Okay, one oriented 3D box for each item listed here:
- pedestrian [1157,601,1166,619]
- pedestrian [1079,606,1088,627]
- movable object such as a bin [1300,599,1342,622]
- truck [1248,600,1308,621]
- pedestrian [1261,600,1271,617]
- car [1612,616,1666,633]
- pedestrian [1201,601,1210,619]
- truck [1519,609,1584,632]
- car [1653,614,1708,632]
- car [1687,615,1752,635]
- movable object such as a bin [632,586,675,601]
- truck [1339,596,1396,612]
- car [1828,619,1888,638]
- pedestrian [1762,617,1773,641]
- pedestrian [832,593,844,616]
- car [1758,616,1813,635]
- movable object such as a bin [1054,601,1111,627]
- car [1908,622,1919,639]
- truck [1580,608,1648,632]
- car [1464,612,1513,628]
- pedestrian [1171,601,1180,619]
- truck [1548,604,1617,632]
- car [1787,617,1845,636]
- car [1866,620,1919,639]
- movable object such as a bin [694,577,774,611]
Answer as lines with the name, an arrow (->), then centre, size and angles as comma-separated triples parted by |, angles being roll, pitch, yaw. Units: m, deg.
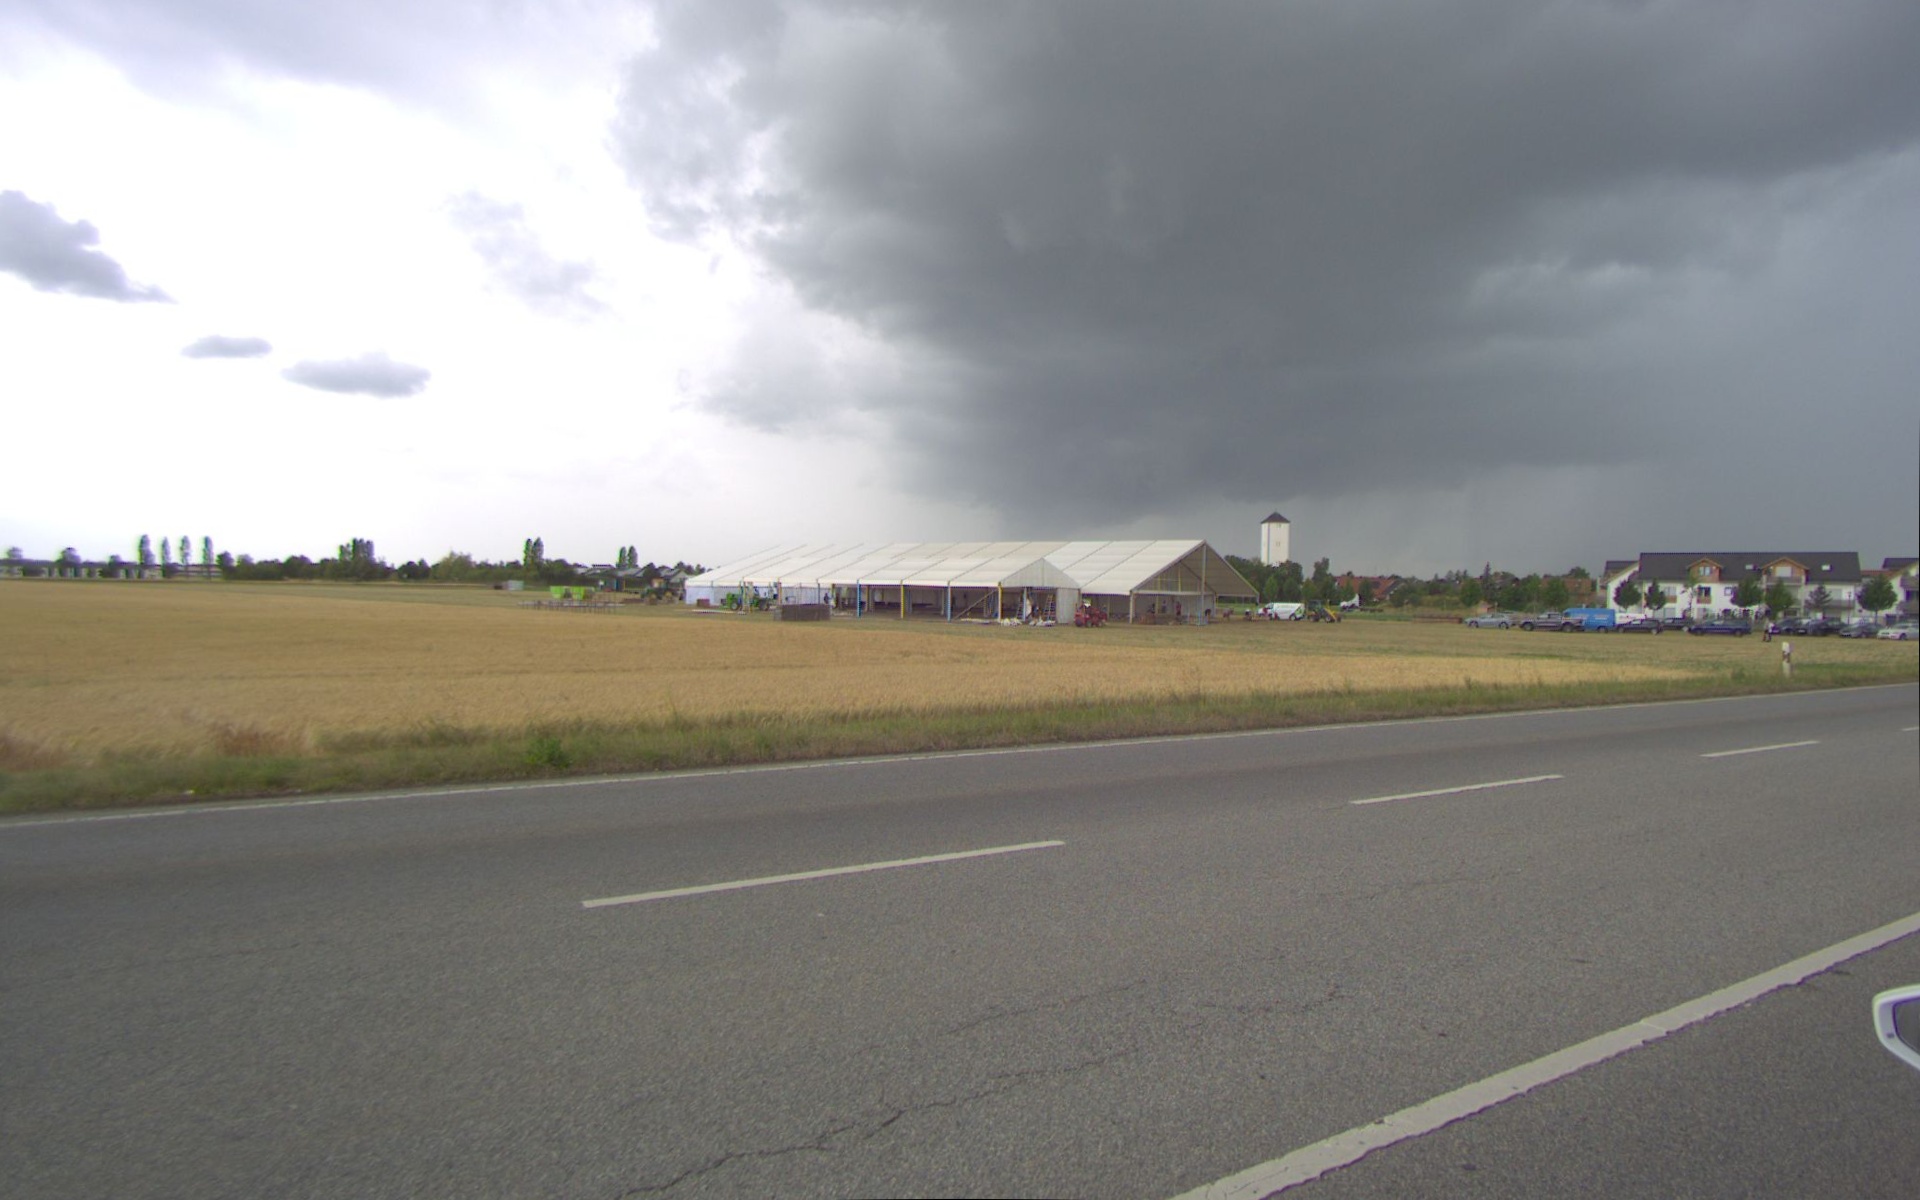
pedestrian -> 20.428, 1.056, 101.790 | 0.717, 1.803, 0.760 | 1, 0, 21
pedestrian -> 9.995, 1.321, 81.550 | 0.463, 1.649, 0.581 | 1, 0, 36
movable object such as a bin -> 38.495, 1.123, 107.056 | 3.927, 2.273, 1.881 | 1, 0, 31
truck -> 35.798, 1.167, 113.070 | 5.958, 2.246, 2.714 | 1, 0, 32
pedestrian -> 32.436, 0.904, 106.528 | 0.681, 1.799, 0.690 | 1, 0, 44
car -> 64.524, 2.322, 95.503 | 4.104, 1.539, 1.991 | 1, 0, 39
pedestrian -> 24.600, 0.970, 100.562 | 0.679, 1.799, 0.693 | 1, 0, 34
truck -> 55.283, 1.902, 93.881 | 5.153, 1.946, 2.107 | 1, 0, 33
car -> 75.130, 2.427, 104.759 | 4.569, 1.720, 1.991 | 1, 0, 39
car -> 69.377, 2.279, 91.776 | 4.658, 1.720, 1.991 | 1, 0, 39
movable object such as a bin -> -44.445, -0.920, 145.688 | 2.528, 2.040, 5.388 | 2, 0, 40
truck -> 70.769, 0.727, 174.672 | 3.257, 2.563, 9.310 | 1, 0, -27
car -> 79.445, 2.520, 88.884 | 4.139, 1.556, 1.995 | 1, 0, -13
pedestrian -> 63.599, 2.286, 79.091 | 0.673, 1.809, 0.543 | 1, 0, -43
pedestrian -> -11.074, 0.417, 91.006 | 1.005, 2.040, 0.806 | 1, 0, -2
car -> 78.476, 2.432, 95.510 | 4.139, 1.651, 1.995 | 1, 0, -13
movable object such as a bin -> 9.573, 1.094, 78.305 | 2.555, 1.889, 4.459 | 1, 0, 35
car -> 81.582, 2.576, 83.592 | 4.139, 1.465, 1.995 | 1, 0, -13
truck -> 65.122, 1.994, 100.010 | 5.492, 2.226, 2.598 | 1, 0, 36
car -> 52.819, 1.967, 100.421 | 4.234, 1.481, 1.887 | 1, 0, 33
pedestrian -> 21.605, 1.017, 100.699 | 0.643, 1.767, 0.727 | 1, 0, 23
truck -> 59.129, 1.655, 95.468 | 5.377, 2.478, 2.385 | 1, 0, 36
car -> 78.228, 2.442, 91.832 | 4.139, 1.651, 1.995 | 1, 0, -13
car -> 80.499, 2.539, 86.297 | 4.139, 1.465, 1.995 | 1, 0, -13
movable object such as a bin -> -22.888, -0.612, 101.652 | 7.464, 3.219, 4.141 | 2, 1, 38
